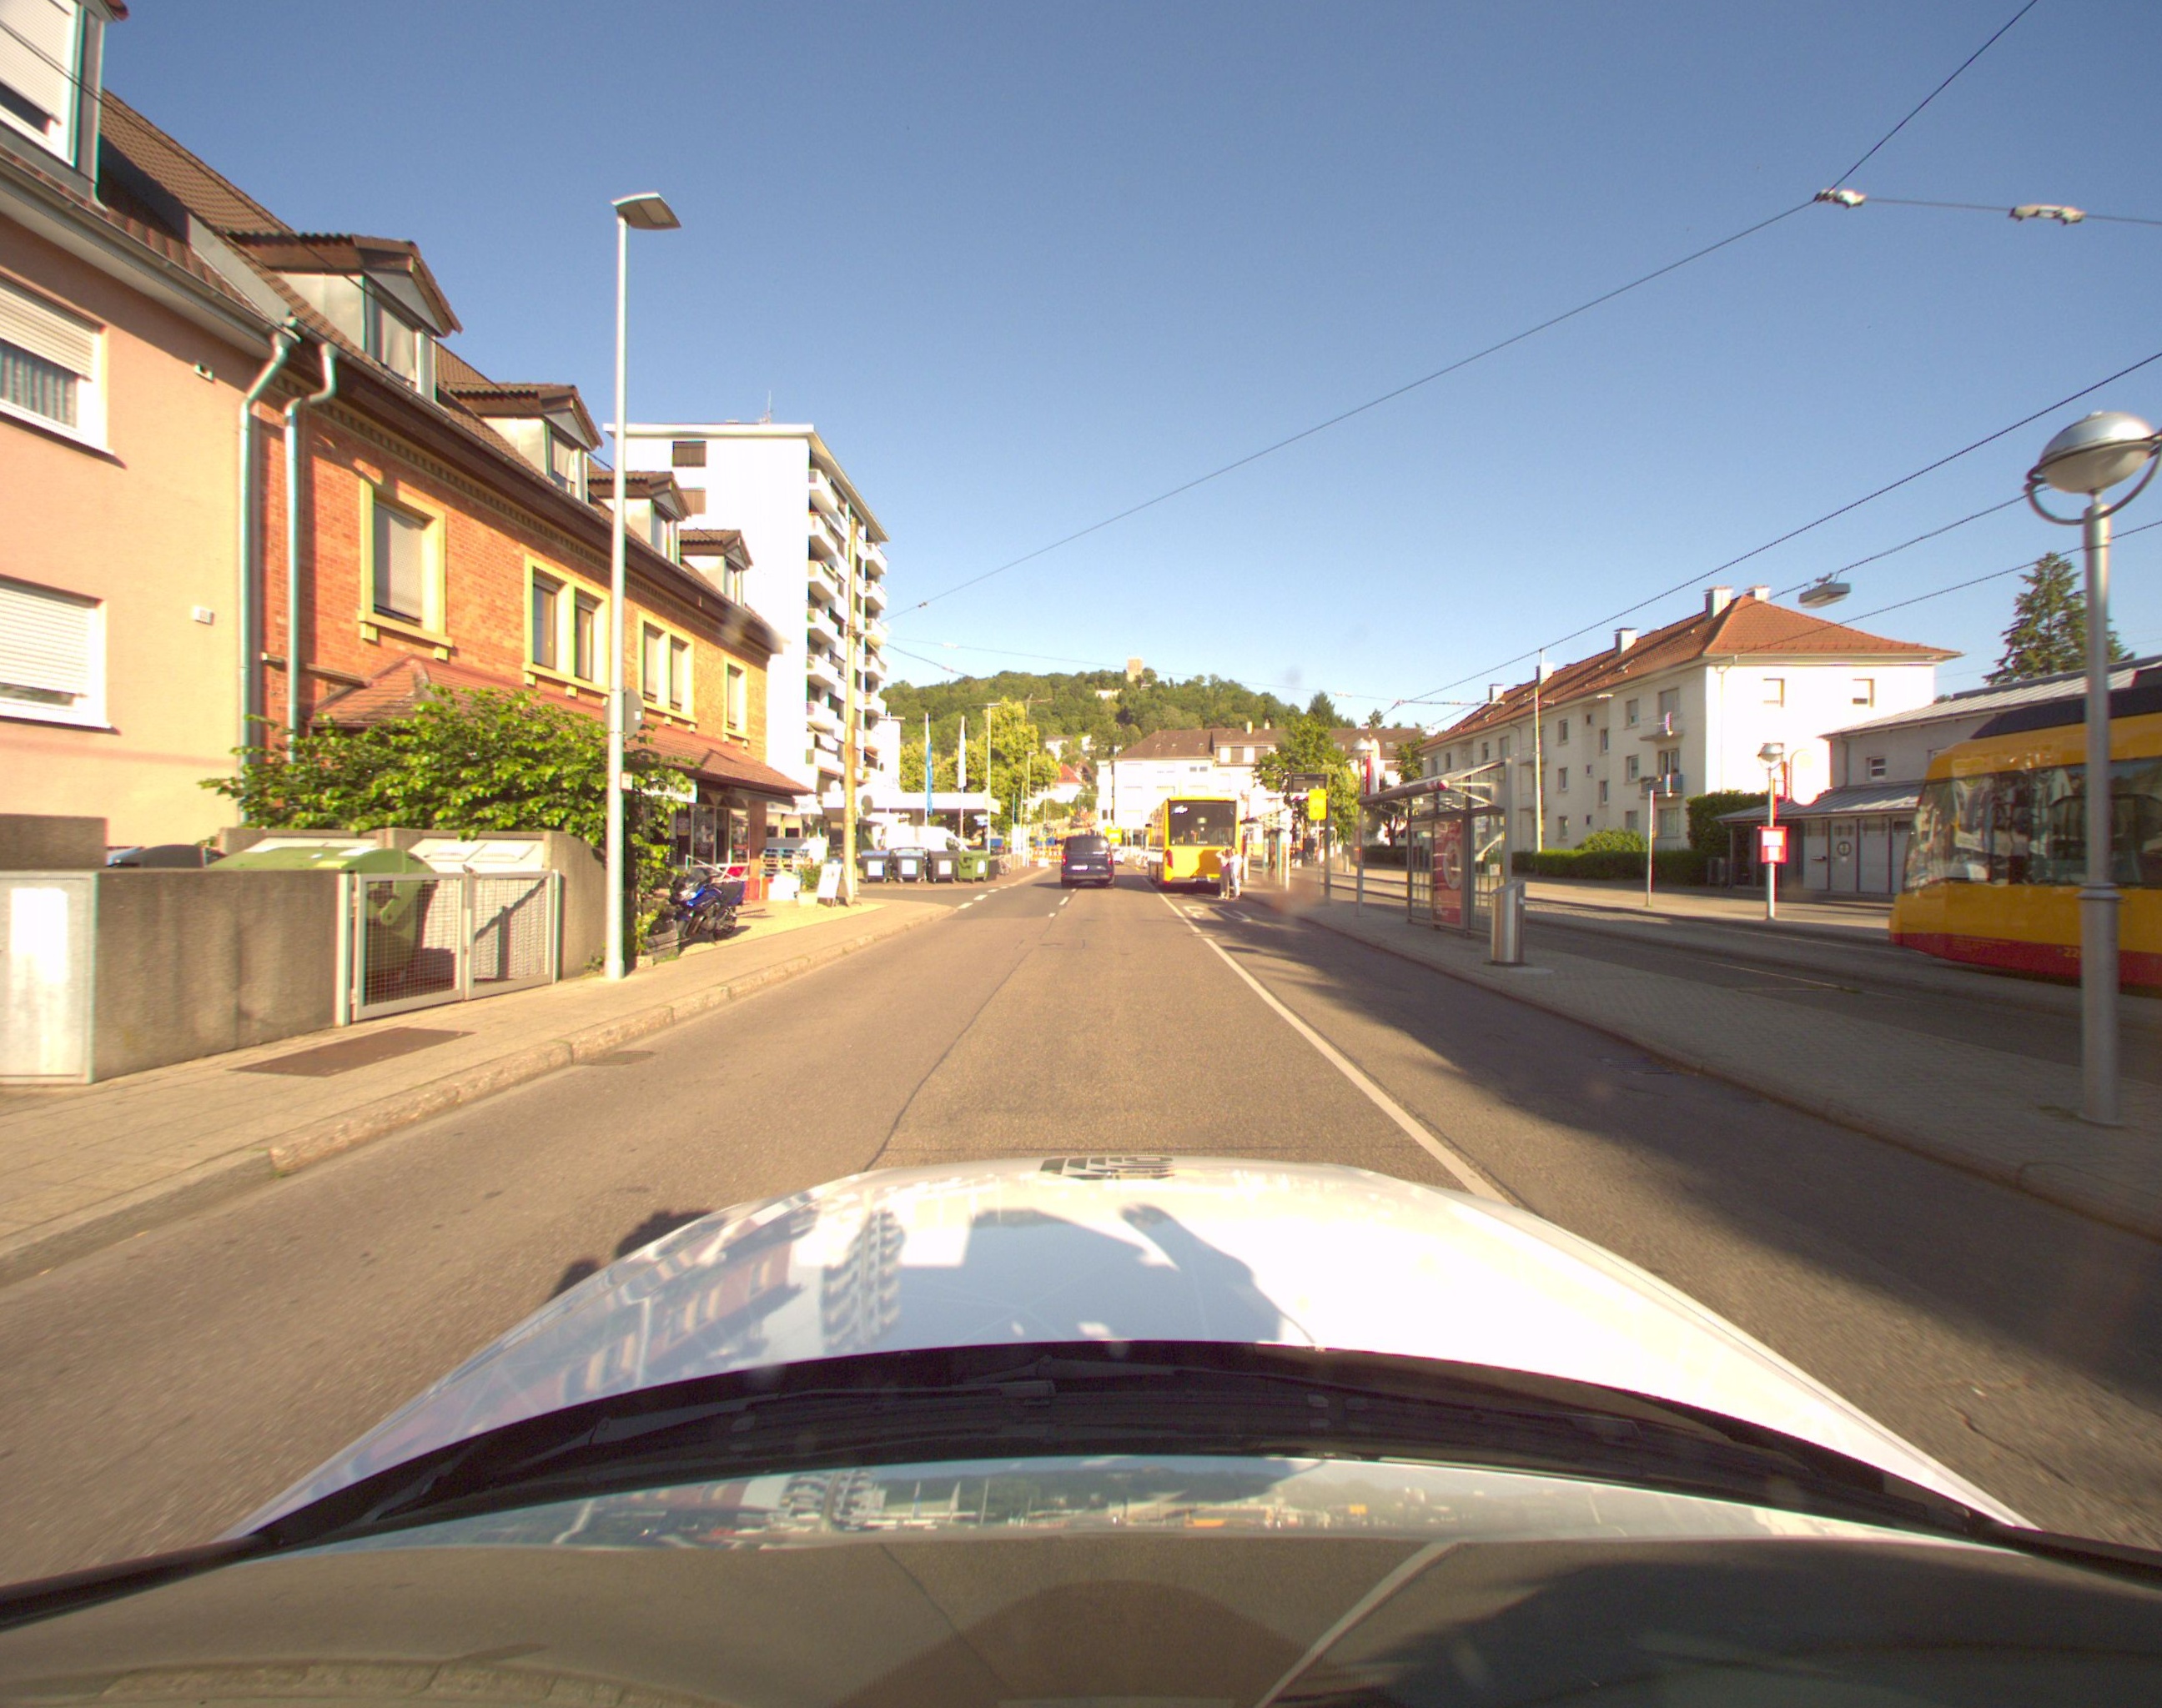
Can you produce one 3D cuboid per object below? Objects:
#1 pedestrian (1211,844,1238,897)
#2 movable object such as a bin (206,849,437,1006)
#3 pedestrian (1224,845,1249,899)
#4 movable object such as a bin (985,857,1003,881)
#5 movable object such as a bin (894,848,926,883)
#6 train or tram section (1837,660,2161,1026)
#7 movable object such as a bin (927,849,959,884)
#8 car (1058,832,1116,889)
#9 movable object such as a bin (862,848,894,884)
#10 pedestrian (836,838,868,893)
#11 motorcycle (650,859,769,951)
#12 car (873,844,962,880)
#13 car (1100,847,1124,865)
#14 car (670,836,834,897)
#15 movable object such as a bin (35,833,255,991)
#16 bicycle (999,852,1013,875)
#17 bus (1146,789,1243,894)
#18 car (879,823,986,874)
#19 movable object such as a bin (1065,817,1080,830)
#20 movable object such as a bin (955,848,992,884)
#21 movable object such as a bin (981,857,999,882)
[{"bbox_3d":[4.457,0.512,25.233,0.548,1.613,0.629,0,0,-35],"label":"pedestrian"},{"bbox_3d":[-7.355,0.666,7.963,1.304,1.429,0.991,0,0,-2],"label":"movable object such as a bin"},{"bbox_3d":[4.758,0.538,24.926,0.548,1.613,0.544,0,0,-36],"label":"pedestrian"},{"bbox_3d":[-4.079,0.690,38.230,0.635,1.069,0.582,1,3,14],"label":"movable object such as a bin"},{"bbox_3d":[-7.440,0.499,35.466,1.215,1.482,0.704,0,3,-3],"label":"movable object such as a bin"},{"bbox_3d":[11.759,-0.167,3.338,2.946,3.534,15.977,-1,-1,2],"label":"train or tram section"},{"bbox_3d":[-6.053,0.538,35.745,1.224,1.482,0.698,-2,4,-27],"label":"movable object such as a bin"},{"bbox_3d":[0.313,0.237,31.831,2.054,2.013,5.002,1,0,2],"label":"car"},{"bbox_3d":[-8.806,0.516,35.356,1.175,1.482,0.704,0,3,-3],"label":"movable object such as a bin"},{"bbox_3d":[-7.855,0.392,27.951,0.814,1.867,0.796,0,0,2],"label":"pedestrian"},{"bbox_3d":[-5.708,0.740,12.692,0.836,1.282,2.231,1,0,-1],"label":"motorcycle"},{"bbox_3d":[-7.693,0.379,38.330,3.990,1.568,1.766,1,1,-13],"label":"car"},{"bbox_3d":[2.542,0.146,65.404,1.786,1.409,4.004,-1,0,3],"label":"car"},{"bbox_3d":[-10.819,0.398,27.067,4.600,1.933,2.000,0,0,-1],"label":"car"},{"bbox_3d":[-9.030,0.524,7.916,0.919,1.429,1.042,0,0,-1],"label":"movable object such as a bin"},{"bbox_3d":[-4.008,0.507,43.533,0.722,1.178,1.777,0,0,-7],"label":"bicycle"},{"bbox_3d":[4.195,-0.484,32.577,2.678,3.416,12.026,0,1,2],"label":"bus"},{"bbox_3d":[-7.546,-0.244,41.302,5.072,2.469,2.095,1,0,-20],"label":"car"},{"bbox_3d":[-1.784,-6.303,169.046,2.175,2.690,4.015,0,1,13],"label":"movable object such as a bin"},{"bbox_3d":[-4.849,0.512,36.714,1.045,1.482,1.321,2,4,30],"label":"movable object such as a bin"},{"bbox_3d":[-4.199,0.717,37.614,0.655,1.062,0.587,3,2,14],"label":"movable object such as a bin"}]
